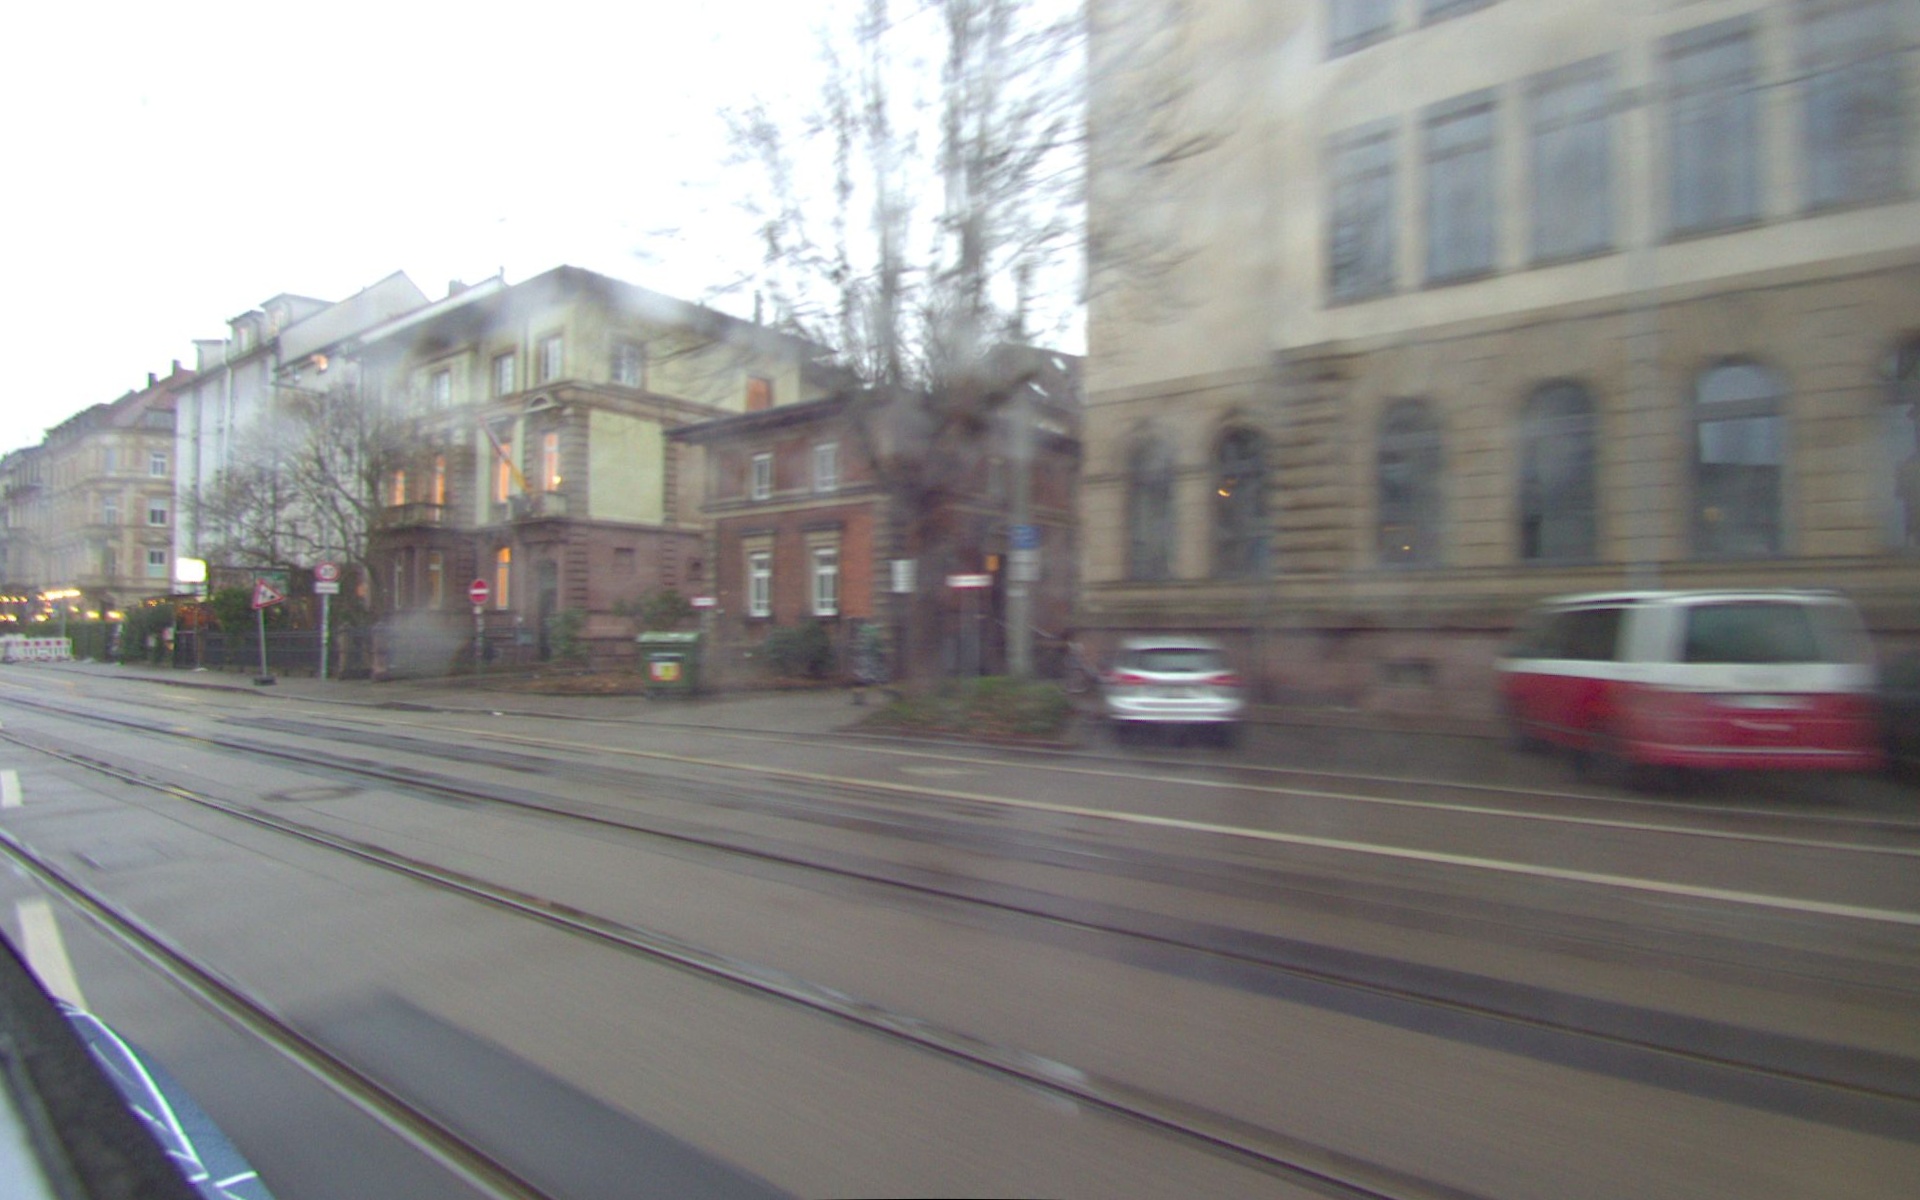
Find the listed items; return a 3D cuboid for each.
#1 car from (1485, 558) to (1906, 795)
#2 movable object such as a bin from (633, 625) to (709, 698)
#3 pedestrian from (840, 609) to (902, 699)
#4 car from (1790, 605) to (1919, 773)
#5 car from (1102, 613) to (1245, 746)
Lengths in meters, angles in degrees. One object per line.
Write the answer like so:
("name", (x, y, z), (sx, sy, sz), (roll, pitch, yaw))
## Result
("car", (7.686, 0.666, 11.278), (1.945, 2.069, 4.607), (-1, 0, 11))
("movable object such as a bin", (-6.198, 1.308, 21.757), (1.325, 1.475, 0.986), (-1, 0, 1))
("pedestrian", (-1.753, 1.055, 20.019), (0.939, 1.716, 0.919), (-1, 0, 16))
("car", (10.024, 0.855, 9.429), (1.804, 1.551, 3.964), (-1, 0, 10))
("car", (3.027, 1.051, 15.028), (1.755, 1.603, 4.174), (-1, 0, 9))
